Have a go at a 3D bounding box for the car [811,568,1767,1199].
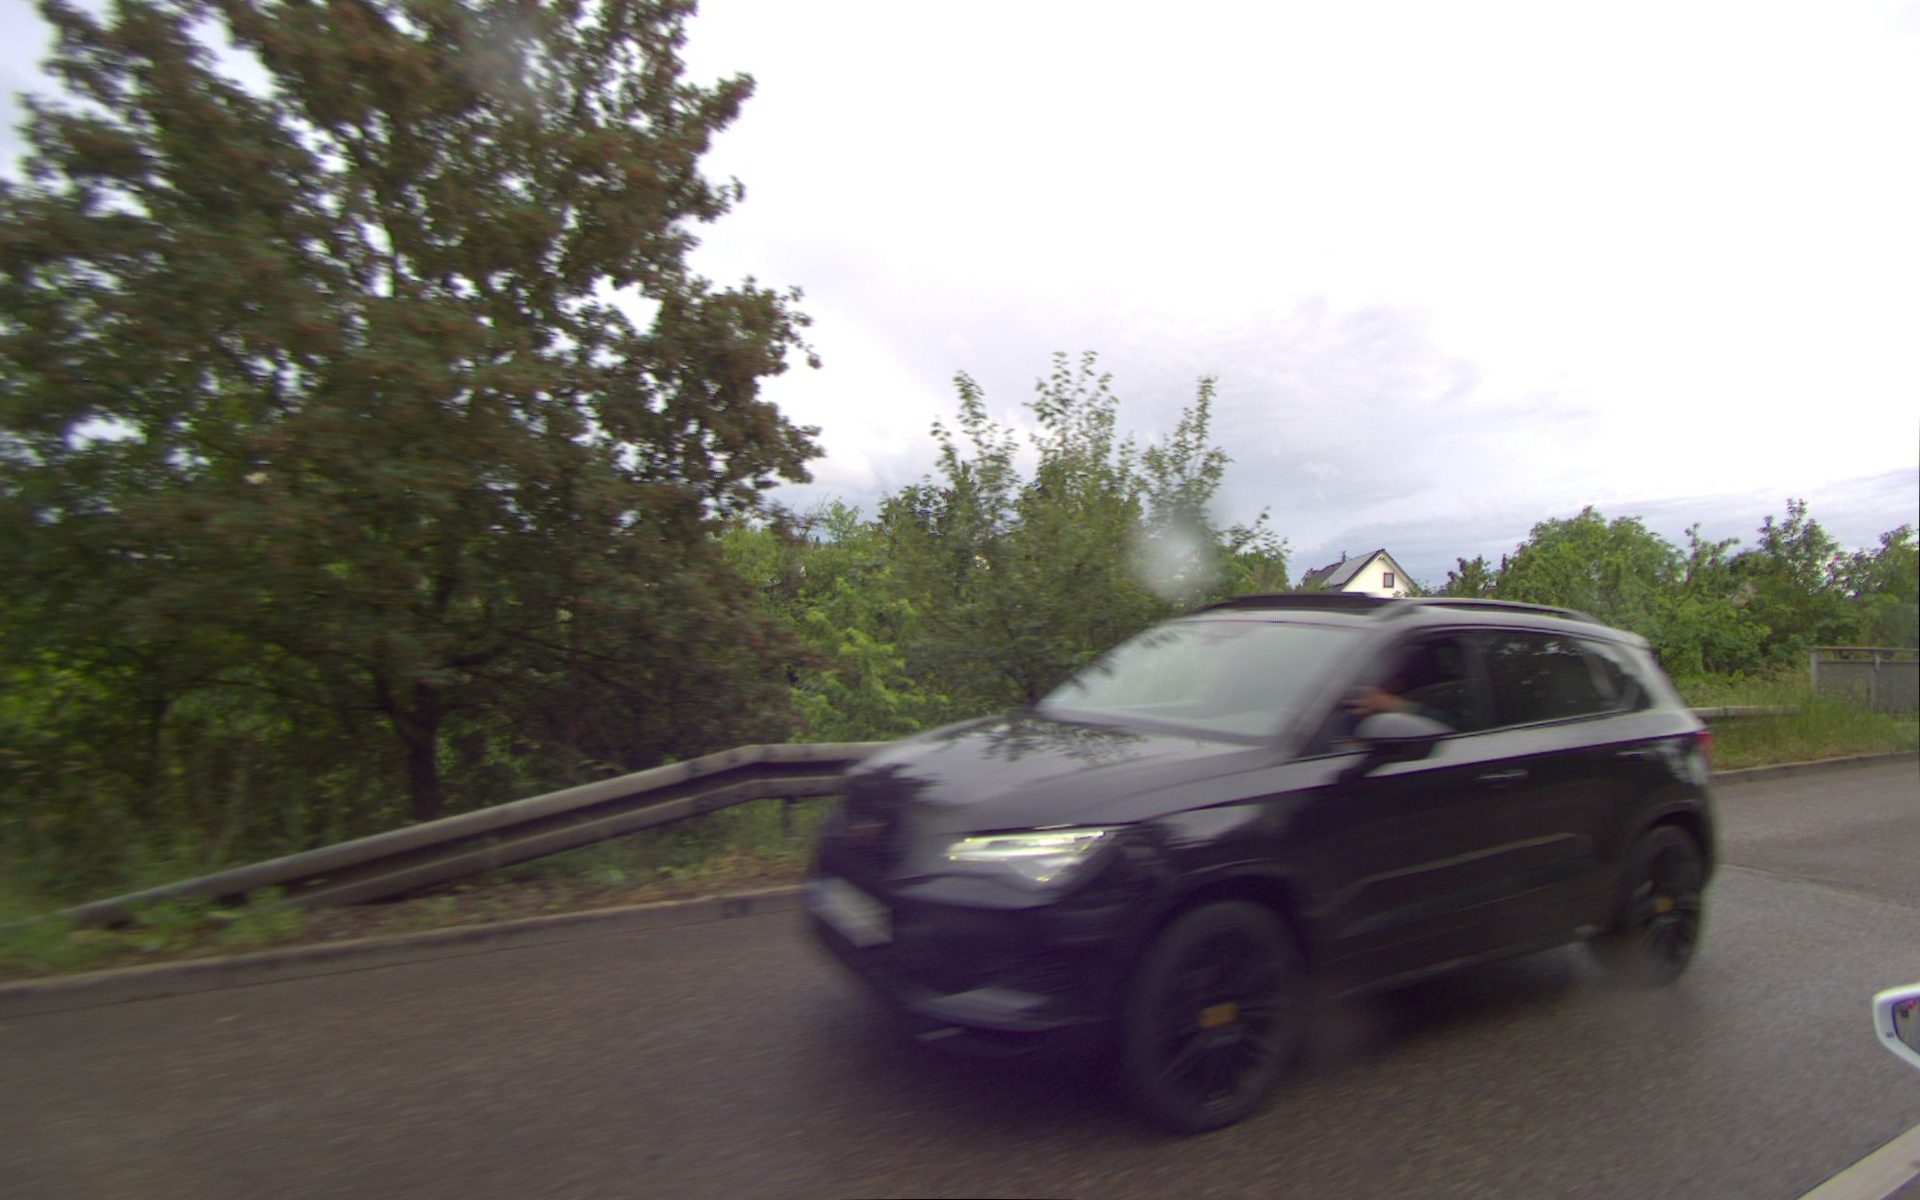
[{"bbox_3d":[1.570,0.782,4.347,4.033,1.606,1.722,2,-1,-31],"label":"car"}]
